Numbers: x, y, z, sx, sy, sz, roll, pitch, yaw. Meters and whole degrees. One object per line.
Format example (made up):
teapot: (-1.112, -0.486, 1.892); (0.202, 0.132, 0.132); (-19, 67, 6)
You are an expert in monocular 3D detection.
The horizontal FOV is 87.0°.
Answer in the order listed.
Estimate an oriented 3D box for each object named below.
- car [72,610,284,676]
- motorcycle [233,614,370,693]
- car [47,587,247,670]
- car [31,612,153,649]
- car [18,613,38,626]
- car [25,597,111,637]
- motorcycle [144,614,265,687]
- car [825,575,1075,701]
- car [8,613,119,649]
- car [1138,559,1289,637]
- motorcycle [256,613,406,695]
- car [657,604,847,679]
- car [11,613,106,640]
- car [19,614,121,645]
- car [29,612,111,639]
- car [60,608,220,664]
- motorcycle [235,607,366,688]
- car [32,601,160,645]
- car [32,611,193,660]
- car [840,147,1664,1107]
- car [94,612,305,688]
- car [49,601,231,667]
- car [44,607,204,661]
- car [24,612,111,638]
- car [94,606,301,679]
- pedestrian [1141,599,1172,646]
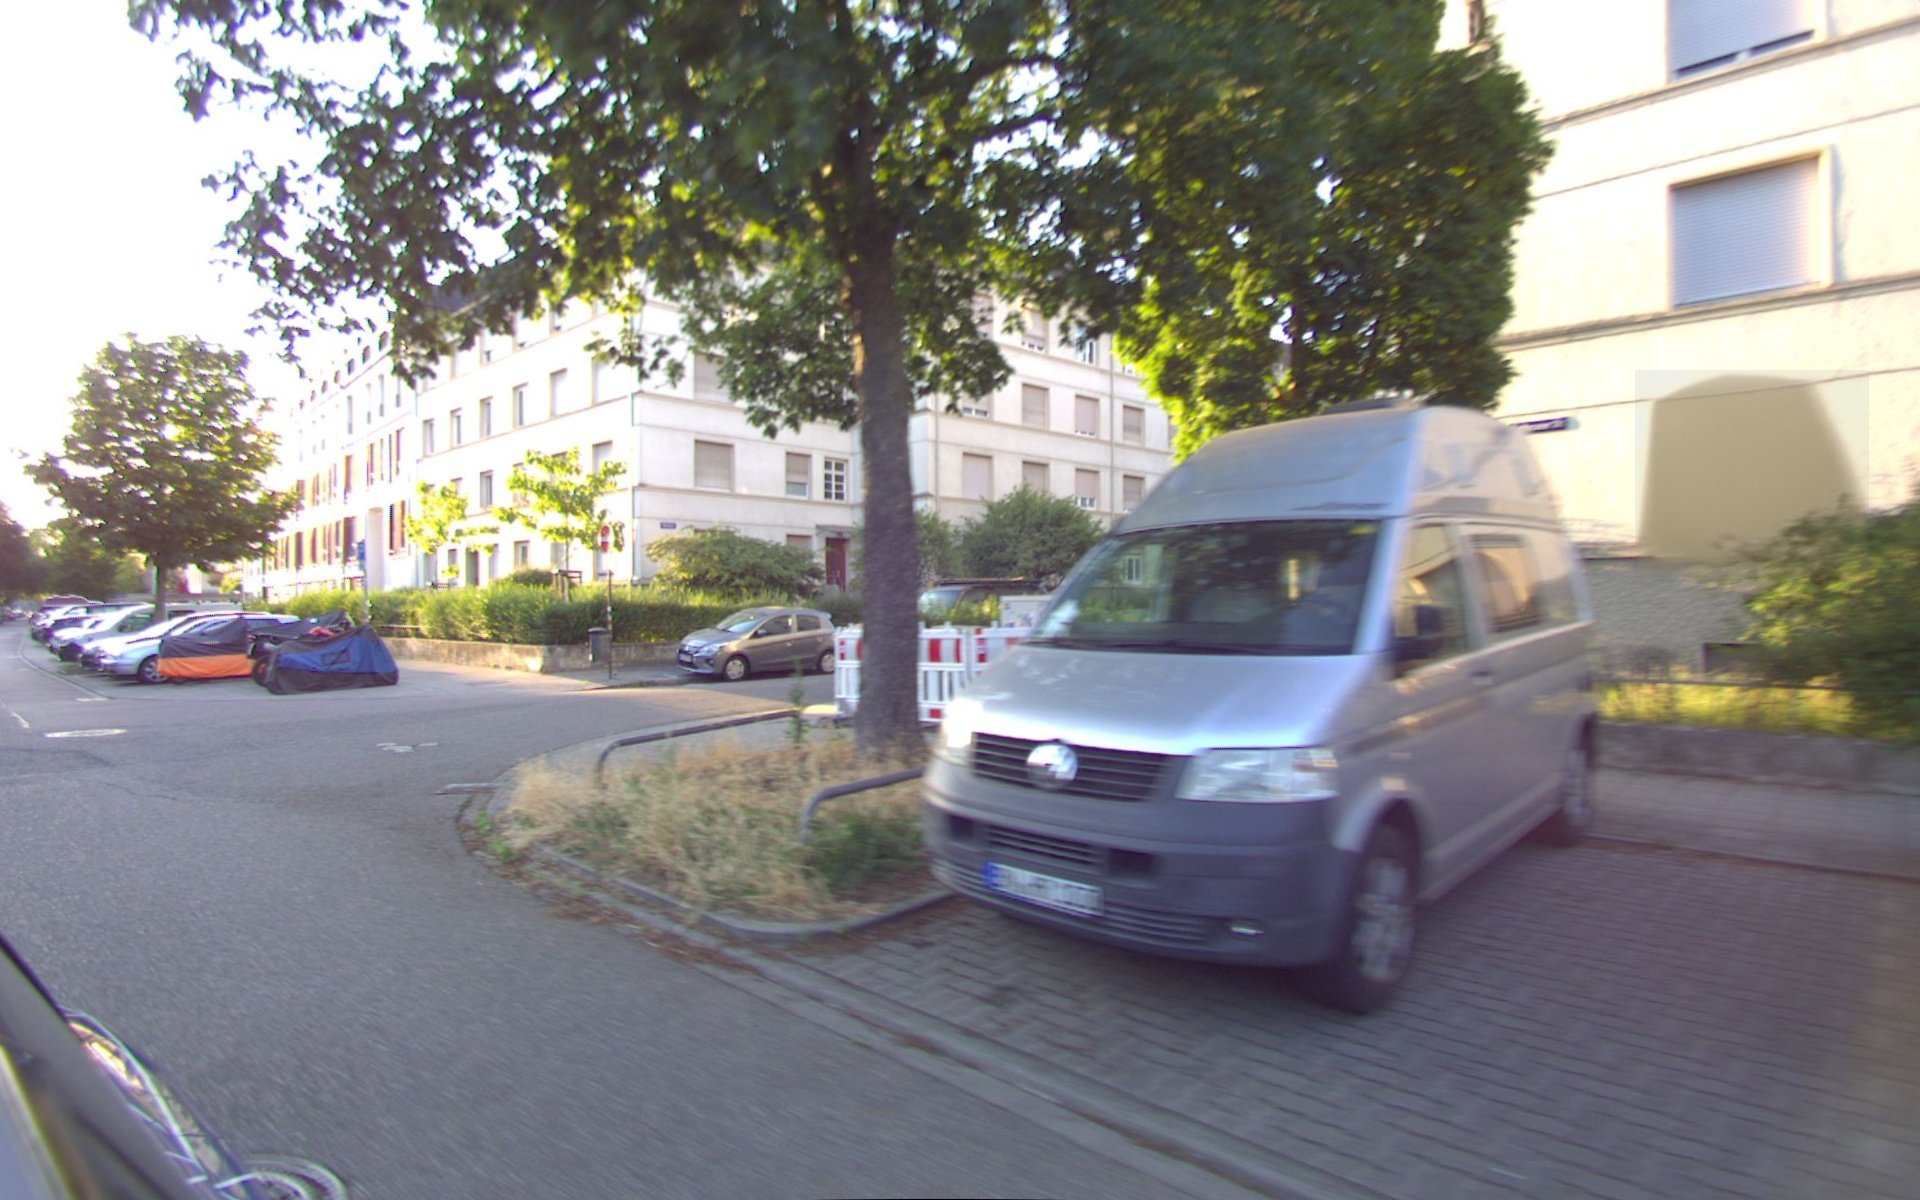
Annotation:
car: (-20.694, 1.069, 26.882); (4.276, 1.416, 1.853); (-3, 2, -43)
motorcycle: (-13.162, 1.027, 20.272); (2.204, 1.447, 0.774); (-1, 0, -42)
car: (-24.301, 0.811, 30.353); (4.458, 2.085, 2.003); (-5, 1, -42)
car: (-40.480, 1.393, 47.265); (1.738, 1.426, 4.095); (-1, 2, 42)
car: (-117.706, 2.463, 127.796); (1.737, 1.498, 3.786); (2, -2, -45)
car: (-61.157, 1.121, 69.430); (4.349, 2.576, 1.934); (-1, 0, -42)
motorcycle: (-16.236, 1.055, 21.789); (0.721, 1.447, 1.965); (-1, 0, 40)
car: (-0.067, 0.594, 18.586); (2.001, 2.029, 4.526); (-1, 0, 44)
car: (-42.787, 1.443, 48.354); (1.654, 1.504, 3.841); (-1, 2, 43)
car: (6.502, -0.059, 25.764); (2.001, 1.832, 3.942); (-1, 0, 44)
motorcycle: (-12.211, 1.007, 19.697); (2.354, 1.447, 0.882); (-1, 0, -42)
car: (-4.547, 0.847, 22.404); (3.721, 1.475, 1.830); (-1, 0, -44)
car: (-54.093, 1.572, 60.805); (4.212, 1.505, 1.790); (-1, 0, -43)
car: (-49.088, 1.601, 55.860); (2.051, 1.601, 3.949); (-1, -1, 38)
car: (-57.615, 1.623, 65.608); (3.900, 1.551, 1.758); (-2, 1, -41)
car: (-27.614, 1.156, 34.153); (1.756, 1.495, 3.943); (-1, 3, 44)
motorcycle: (-13.862, 0.955, 21.310); (2.204, 1.594, 0.774); (-1, 0, -42)
car: (-43.578, 1.126, 51.167); (4.794, 2.070, 2.003); (-1, 0, -41)
car: (-31.382, 1.266, 37.554); (1.828, 1.462, 4.360); (-1, 2, 44)
car: (1.864, 0.054, 5.112); (2.001, 2.589, 4.678); (-1, 0, 45)
car: (-17.310, 1.066, 23.135); (3.670, 1.517, 1.691); (-1, 0, -45)
car: (-26.161, 1.025, 32.362); (4.369, 1.815, 1.945); (-3, 1, -43)
car: (-29.545, 1.150, 35.834); (4.195, 1.633, 1.814); (-3, 1, -44)
car: (-59.290, 1.610, 67.266); (4.285, 1.536, 1.707); (-2, 1, -44)
car: (-18.874, 0.988, 25.152); (3.940, 1.595, 1.730); (-1, 0, -43)
pedestrian: (7.036, 0.786, 36.241); (0.804, 1.649, 0.737); (0, -1, -44)
